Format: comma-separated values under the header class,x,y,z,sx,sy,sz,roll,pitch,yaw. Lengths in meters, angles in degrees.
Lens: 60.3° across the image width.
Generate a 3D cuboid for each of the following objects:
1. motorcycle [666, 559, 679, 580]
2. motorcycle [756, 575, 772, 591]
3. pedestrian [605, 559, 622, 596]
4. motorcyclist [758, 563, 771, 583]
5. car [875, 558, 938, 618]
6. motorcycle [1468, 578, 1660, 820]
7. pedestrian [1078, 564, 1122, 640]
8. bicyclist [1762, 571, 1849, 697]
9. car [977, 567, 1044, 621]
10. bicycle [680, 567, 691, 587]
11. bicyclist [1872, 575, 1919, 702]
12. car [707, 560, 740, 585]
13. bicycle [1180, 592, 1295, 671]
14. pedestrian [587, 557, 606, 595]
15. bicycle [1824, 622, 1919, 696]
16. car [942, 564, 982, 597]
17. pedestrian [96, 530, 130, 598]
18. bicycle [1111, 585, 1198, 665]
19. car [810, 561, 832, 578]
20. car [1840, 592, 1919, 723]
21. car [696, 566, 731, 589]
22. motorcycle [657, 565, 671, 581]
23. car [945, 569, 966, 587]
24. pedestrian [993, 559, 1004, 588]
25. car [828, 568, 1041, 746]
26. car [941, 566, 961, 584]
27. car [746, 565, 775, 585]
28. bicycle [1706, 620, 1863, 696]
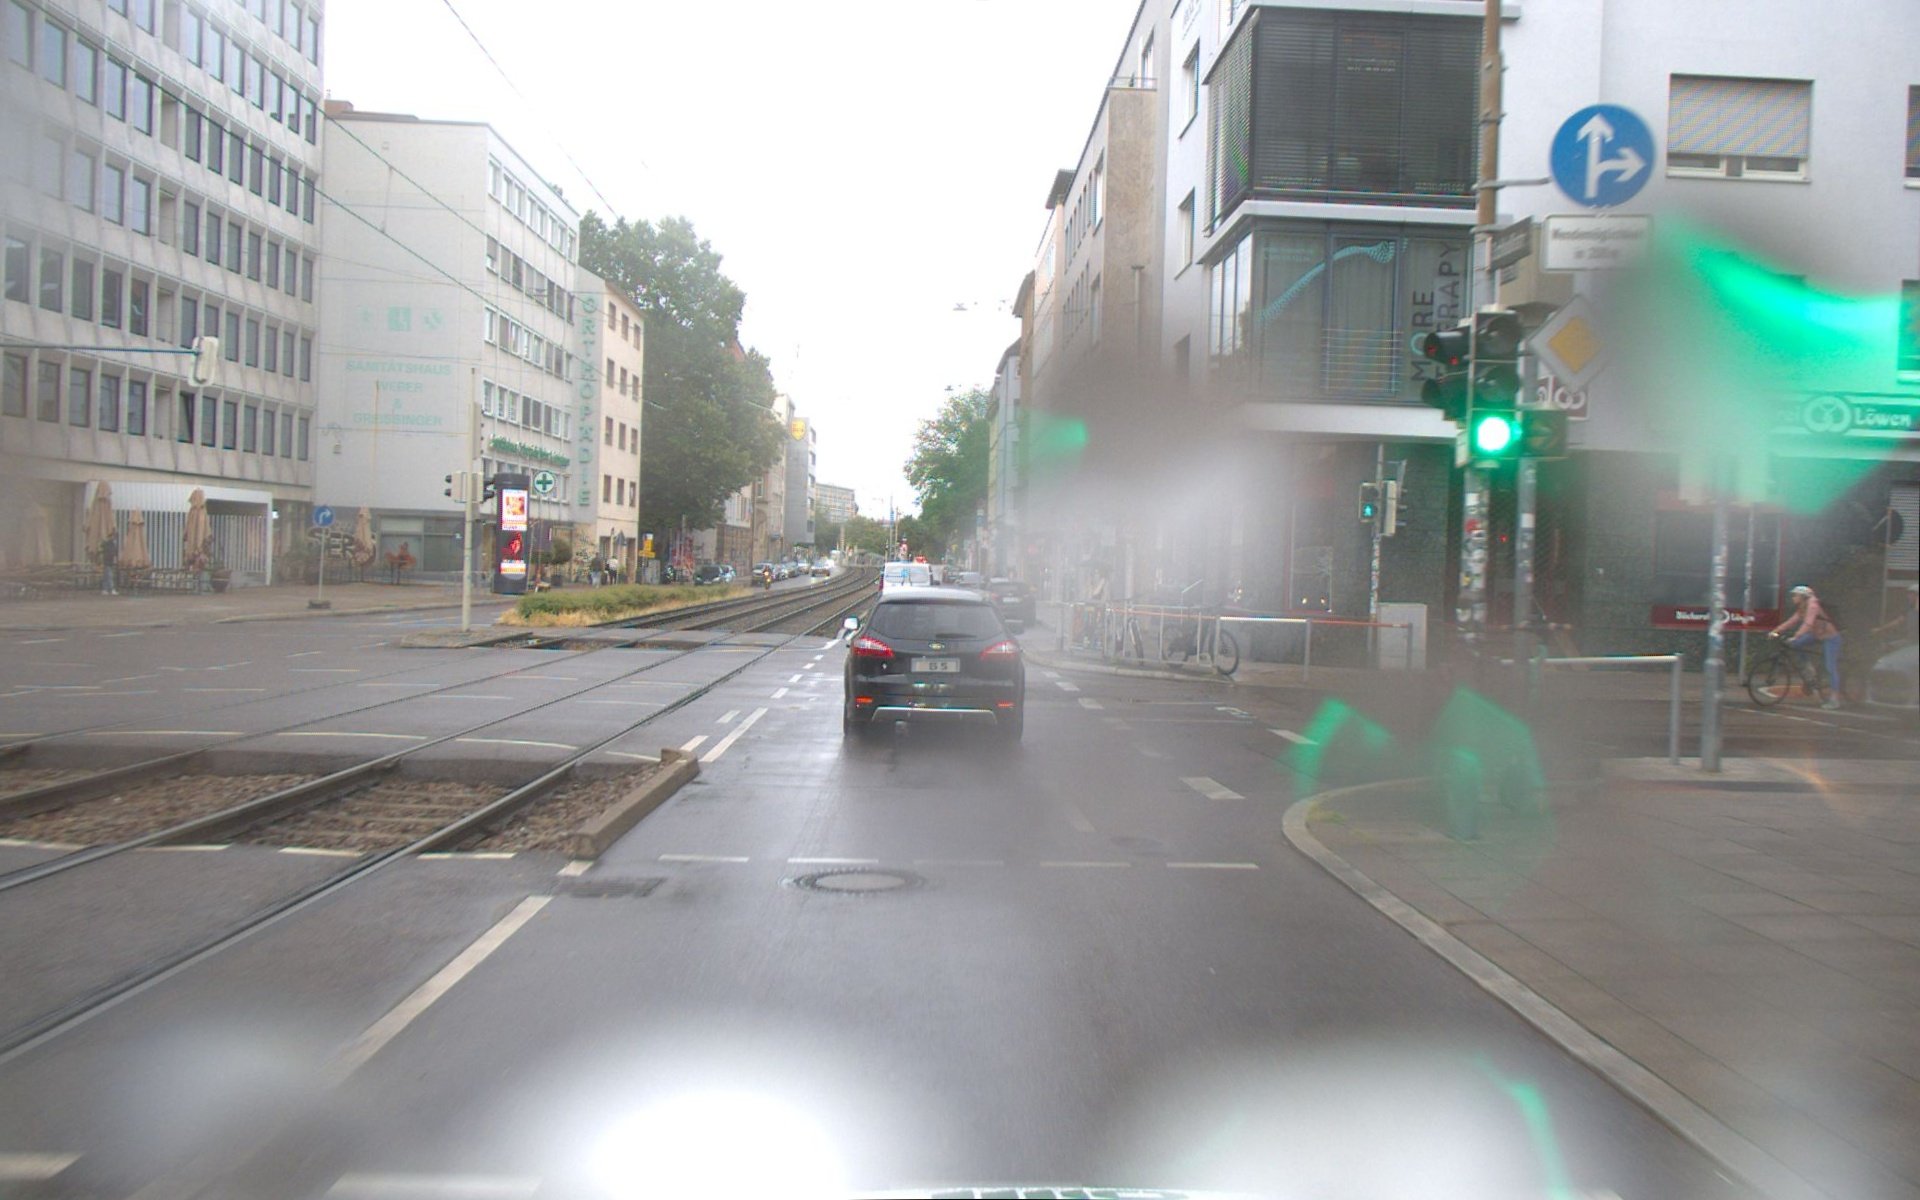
class,x,y,z,sx,sy,sz,roll,pitch,yaw
motorcycle,-20.375,-2.174,117.306,0.626,1.403,2.119,2,1,-3
motorcycle,-12.886,-1.122,108.803,0.727,1.078,1.932,2,1,0
pedestrian,-17.891,-1.161,85.343,0.665,1.929,0.742,2,1,-2
motorcyclist,-12.872,-1.780,108.765,0.726,1.238,0.970,2,1,0
car,-1.694,-0.396,53.887,1.953,1.847,4.271,1,1,-1
motorcycle,3.954,0.606,10.818,1.121,1.486,0.675,0,1,-38
pedestrian,3.026,0.038,35.713,0.650,1.610,0.774,1,1,-23
bicyclist,12.141,0.479,23.757,0.823,1.777,0.756,1,1,-3
car,1.592,-0.208,53.170,1.953,1.621,4.271,1,1,-1
bicycle,-17.241,-1.443,103.844,0.580,1.248,2.399,2,1,-8
bicyclist,13.804,0.548,24.055,0.621,1.822,0.756,1,1,-3
car,-15.933,-1.883,111.660,1.687,1.597,4.219,2,1,-2
bicycle,4.435,0.486,26.520,0.572,1.177,1.930,1,1,-37
pedestrian,-18.750,-1.237,85.370,0.712,1.929,0.983,2,1,-2
bicycle,13.726,0.853,24.054,1.940,1.028,0.755,1,1,-4
car,0.085,-0.972,84.725,1.953,1.621,4.571,1,1,-1
pedestrian,-23.707,-1.003,46.296,0.553,1.854,0.843,2,1,-6
bicycle,3.289,0.406,28.198,0.491,1.280,1.941,1,1,-25
car,-14.084,-3.122,167.895,1.953,1.545,4.443,2,0,-1
car,13.182,0.701,20.272,3.887,1.513,1.722,1,1,-3
car,-15.891,-1.469,106.721,1.708,1.494,4.219,0,1,-1
motorcycle,-20.504,-1.875,114.633,0.626,1.051,2.119,2,1,-3
car,-0.433,-1.954,147.697,1.704,1.514,3.999,1,2,-2
pedestrian,2.574,-1.761,110.383,0.648,1.884,0.821,1,2,-2
car,-0.267,0.506,17.418,1.953,1.621,4.271,1,1,-1
car,-0.842,-2.319,152.797,1.609,1.542,4.038,1,2,-2
car,-16.853,-2.141,139.835,1.953,1.545,4.434,2,1,-2
bicycle,11.811,0.820,23.718,1.887,1.028,0.755,1,1,-4
